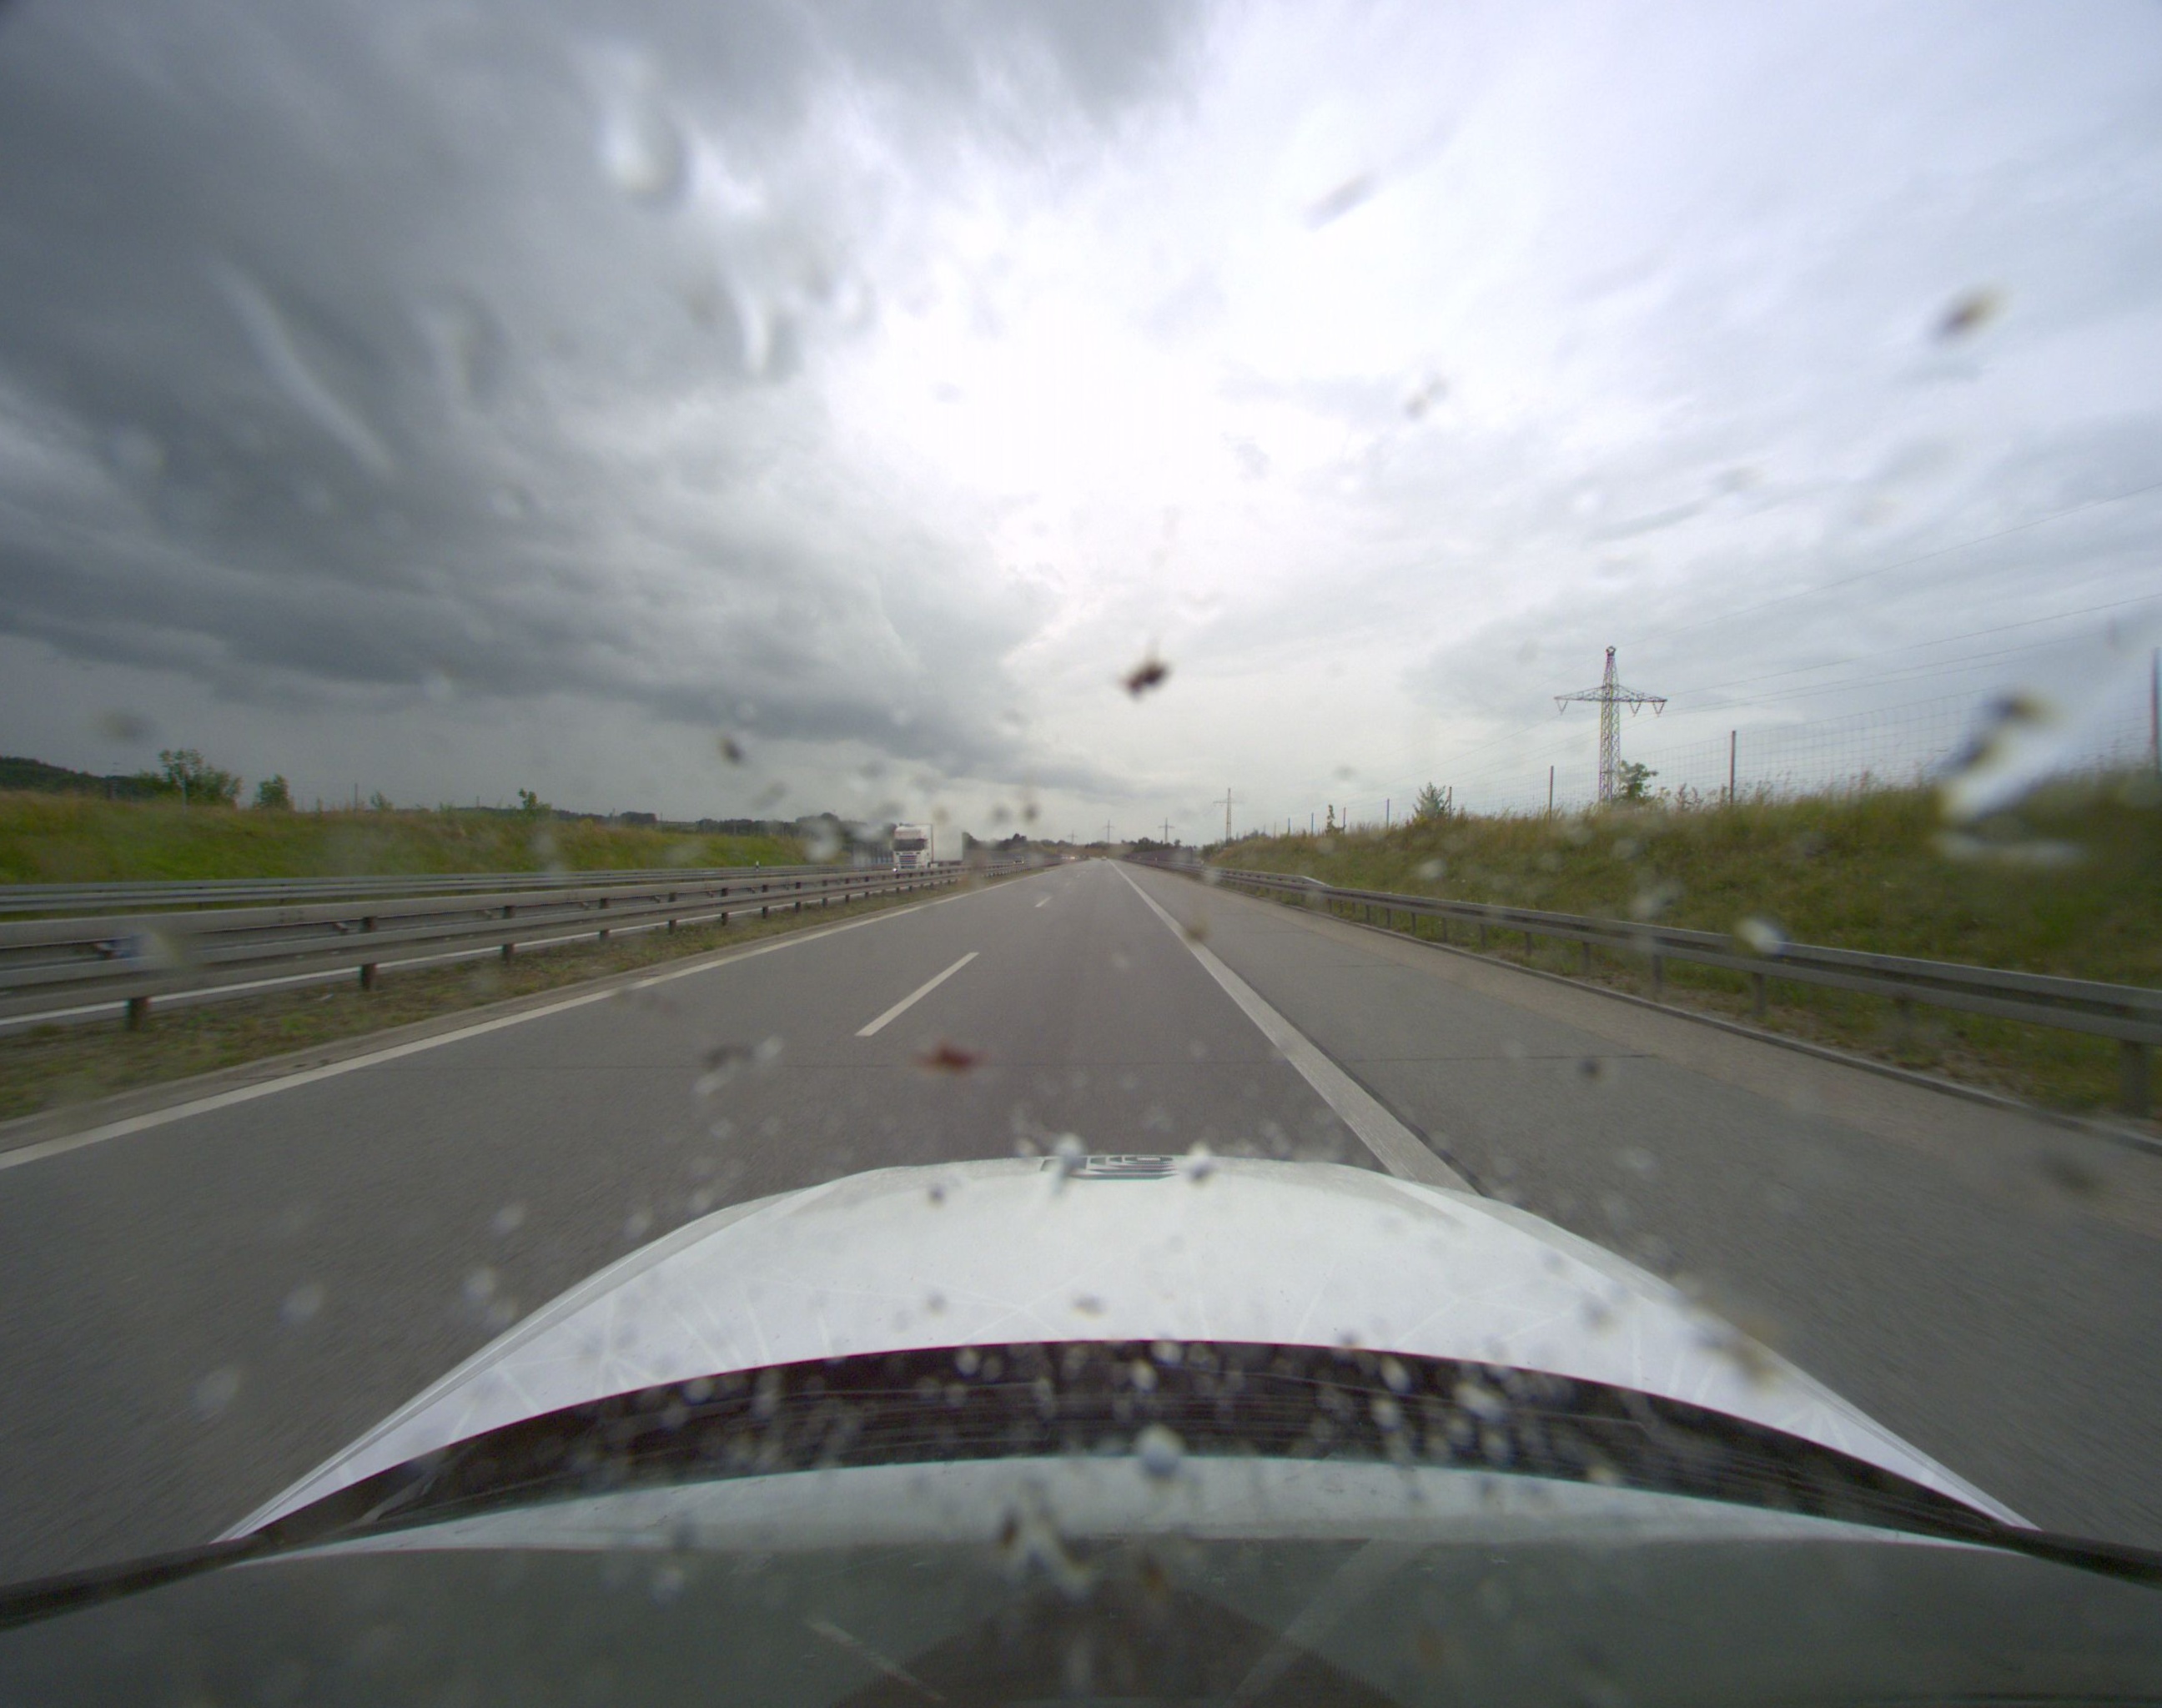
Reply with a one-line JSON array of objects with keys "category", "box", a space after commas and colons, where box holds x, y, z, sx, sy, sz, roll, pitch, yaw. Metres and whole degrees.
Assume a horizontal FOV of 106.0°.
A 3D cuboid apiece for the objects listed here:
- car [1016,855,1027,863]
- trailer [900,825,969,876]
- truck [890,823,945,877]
[{"category": "car", "box": [-10.404, 0.940, 142.617, 1.625, 1.409, 4.001, 0, 0, 2]}, {"category": "trailer", "box": [-12.278, -0.279, 69.787, 2.906, 3.925, 14.279, 0, 0, 2]}, {"category": "truck", "box": [-12.483, -0.295, 62.522, 2.941, 3.925, 5.520, 0, 0, 1]}]
